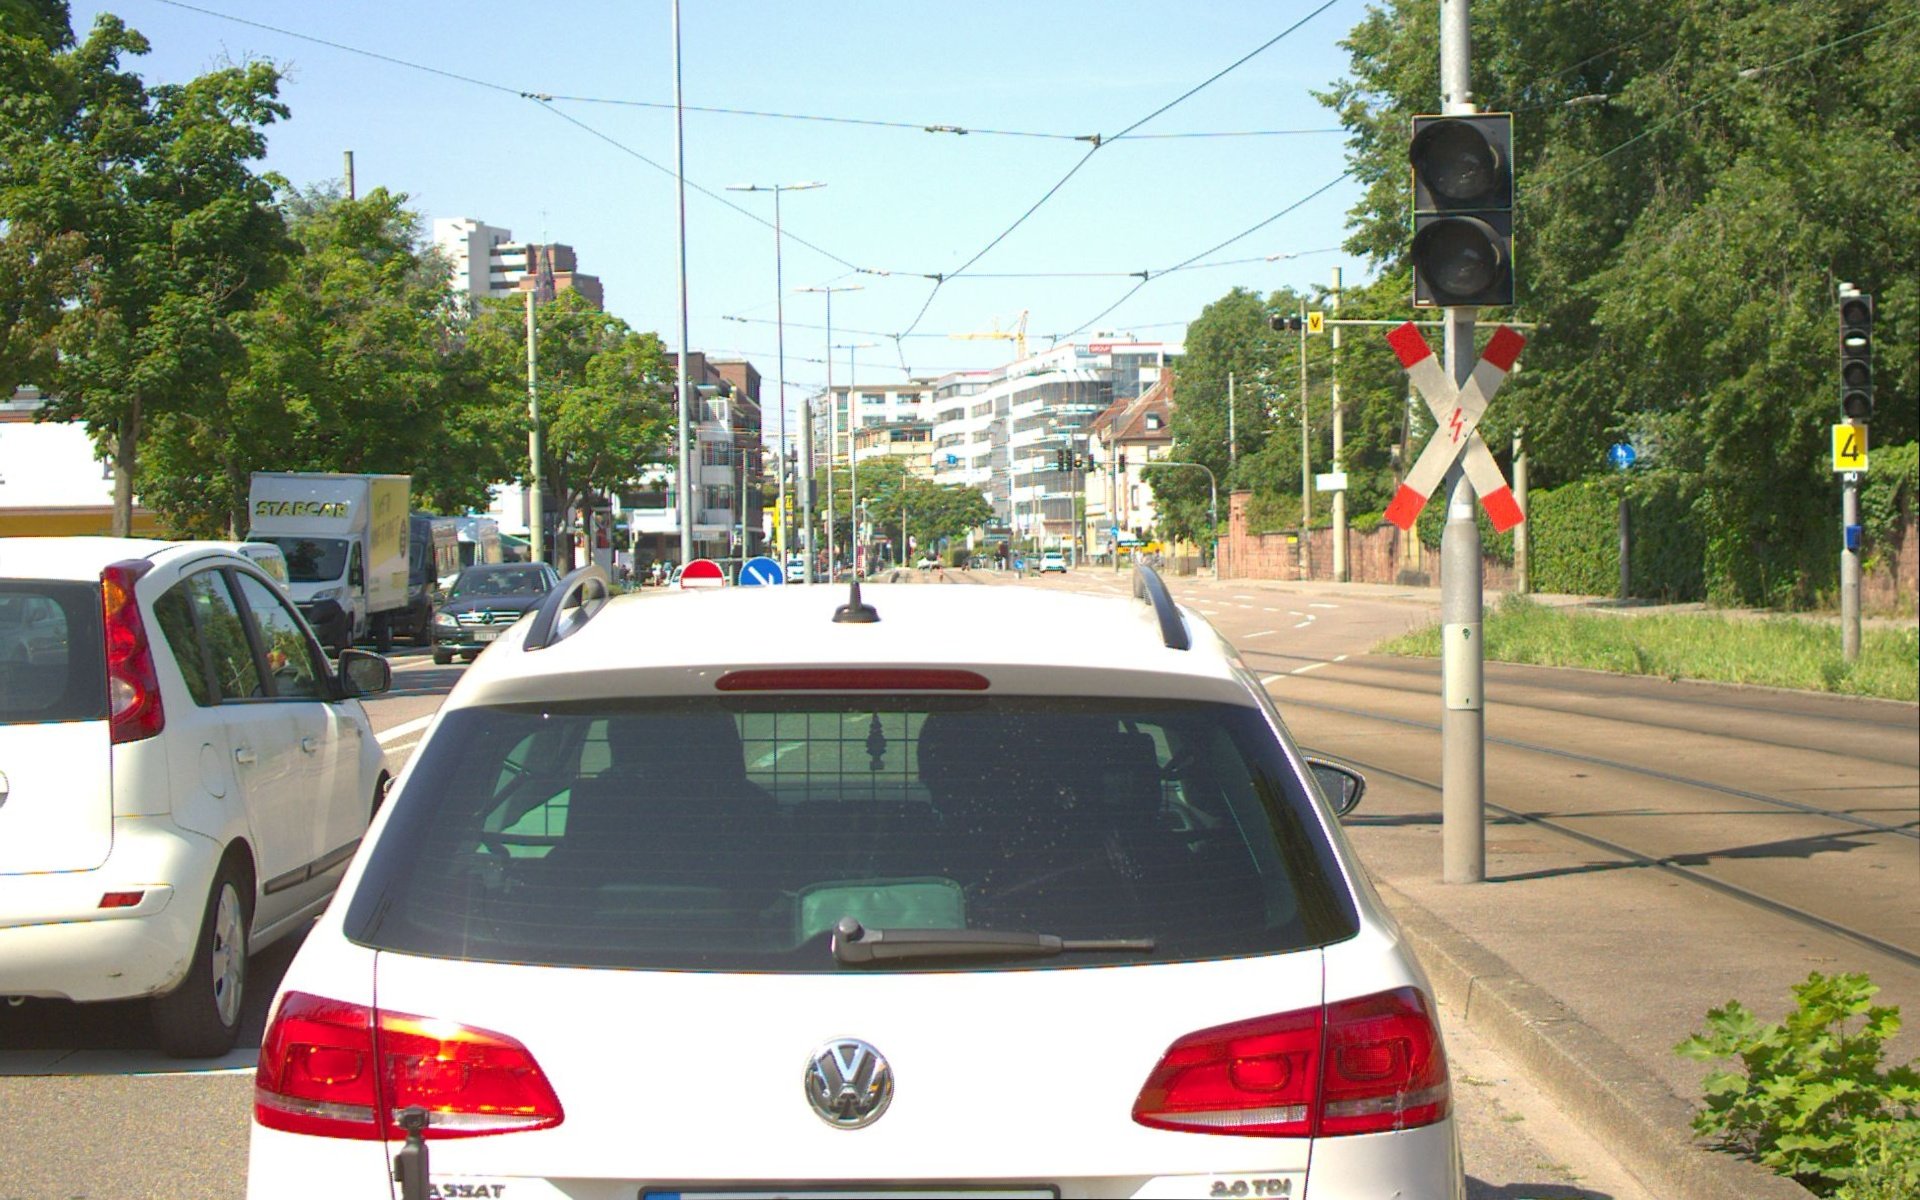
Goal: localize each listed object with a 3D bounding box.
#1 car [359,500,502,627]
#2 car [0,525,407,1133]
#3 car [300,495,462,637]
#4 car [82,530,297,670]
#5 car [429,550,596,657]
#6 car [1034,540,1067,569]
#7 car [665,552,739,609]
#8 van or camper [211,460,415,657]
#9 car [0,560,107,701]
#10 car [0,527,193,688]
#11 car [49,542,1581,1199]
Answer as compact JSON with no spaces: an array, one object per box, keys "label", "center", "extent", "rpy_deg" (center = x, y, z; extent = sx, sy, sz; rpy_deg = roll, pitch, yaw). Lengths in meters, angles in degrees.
[{"label":"car","center":[-11.449,-0.824,74.729],"extent":[2.196,2.621,5.979],"rpy_deg":[1,1,0]},{"label":"car","center":[-2.963,0.564,11.003],"extent":[1.730,1.591,4.011],"rpy_deg":[0,1,0]},{"label":"car","center":[-11.385,-0.707,68.013],"extent":[2.196,2.659,6.080],"rpy_deg":[1,1,0]},{"label":"car","center":[-11.526,-0.044,51.799],"extent":[2.195,1.934,5.185],"rpy_deg":[-2,1,-2]},{"label":"car","center":[-6.557,0.013,50.775],"extent":[1.785,1.404,4.305],"rpy_deg":[-1,2,1]},{"label":"car","center":[6.535,-3.288,247.670],"extent":[2.126,2.007,5.283],"rpy_deg":[-2,1,-1]},{"label":"car","center":[-7.086,-0.556,94.734],"extent":[1.727,1.460,4.000],"rpy_deg":[-2,1,-1]},{"label":"van or camper","center":[-11.204,-0.745,60.080],"extent":[2.196,3.230,6.772],"rpy_deg":[1,1,1]},{"label":"car","center":[-11.101,0.320,38.456],"extent":[1.932,1.449,4.886],"rpy_deg":[-2,1,-1]},{"label":"car","center":[-11.502,0.060,44.798],"extent":[2.195,1.934,5.186],"rpy_deg":[-2,1,-5]},{"label":"car","center":[-0.176,0.662,5.950],"extent":[1.778,1.485,3.847],"rpy_deg":[1,1,0]}]
